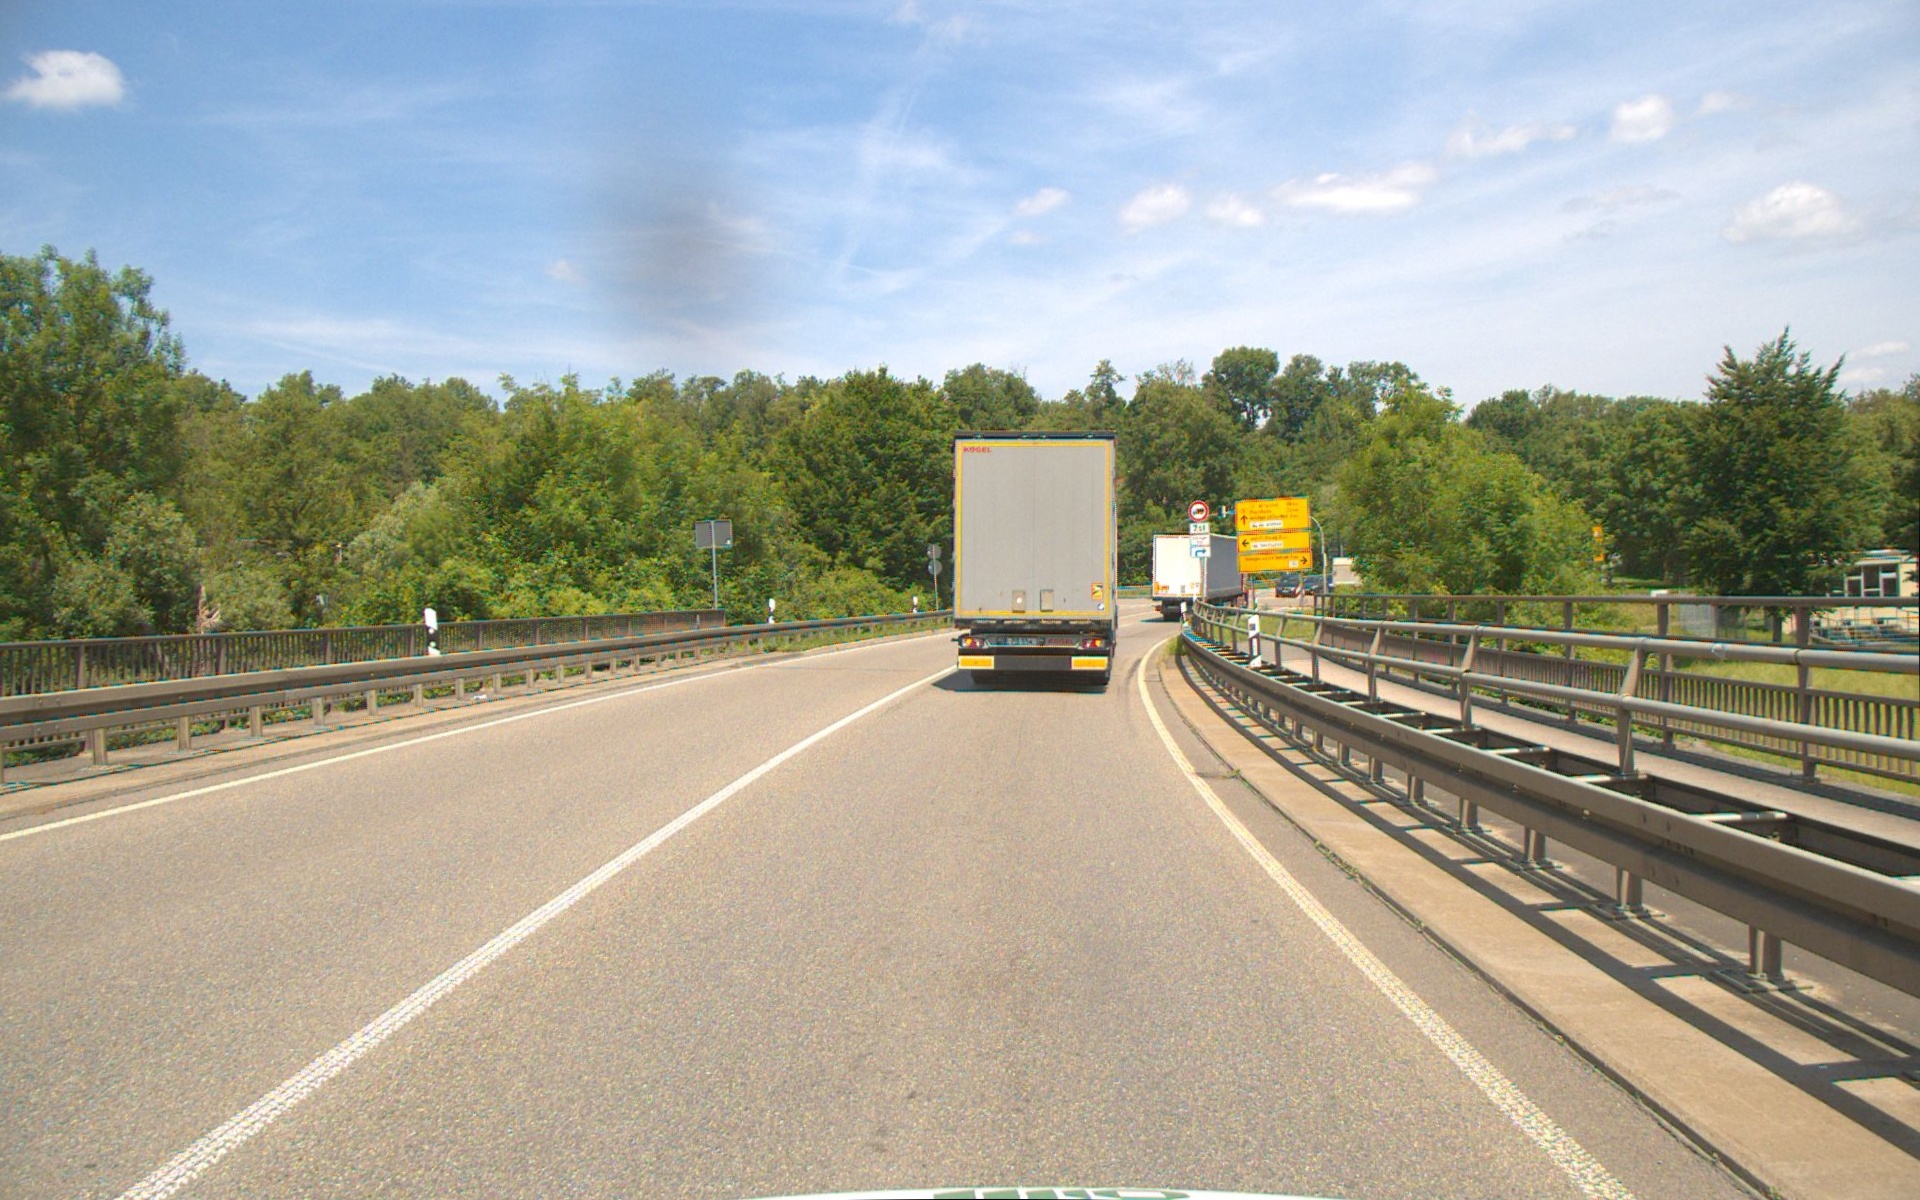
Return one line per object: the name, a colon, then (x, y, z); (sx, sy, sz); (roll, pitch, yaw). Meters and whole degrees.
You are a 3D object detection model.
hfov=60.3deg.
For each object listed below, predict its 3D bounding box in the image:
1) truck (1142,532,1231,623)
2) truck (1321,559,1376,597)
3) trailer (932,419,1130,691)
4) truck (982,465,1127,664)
truck: (11.223, -1.013, 80.799); (3.111, 4.099, 11.754); (0, 0, 14)
truck: (31.457, -1.761, 133.713); (2.799, 2.999, 7.098); (0, 1, 26)
trailer: (1.650, -0.703, 31.386); (2.987, 4.104, 12.567); (0, 0, 5)
truck: (2.261, -0.745, 37.675); (2.974, 4.104, 6.633); (0, 0, 5)
